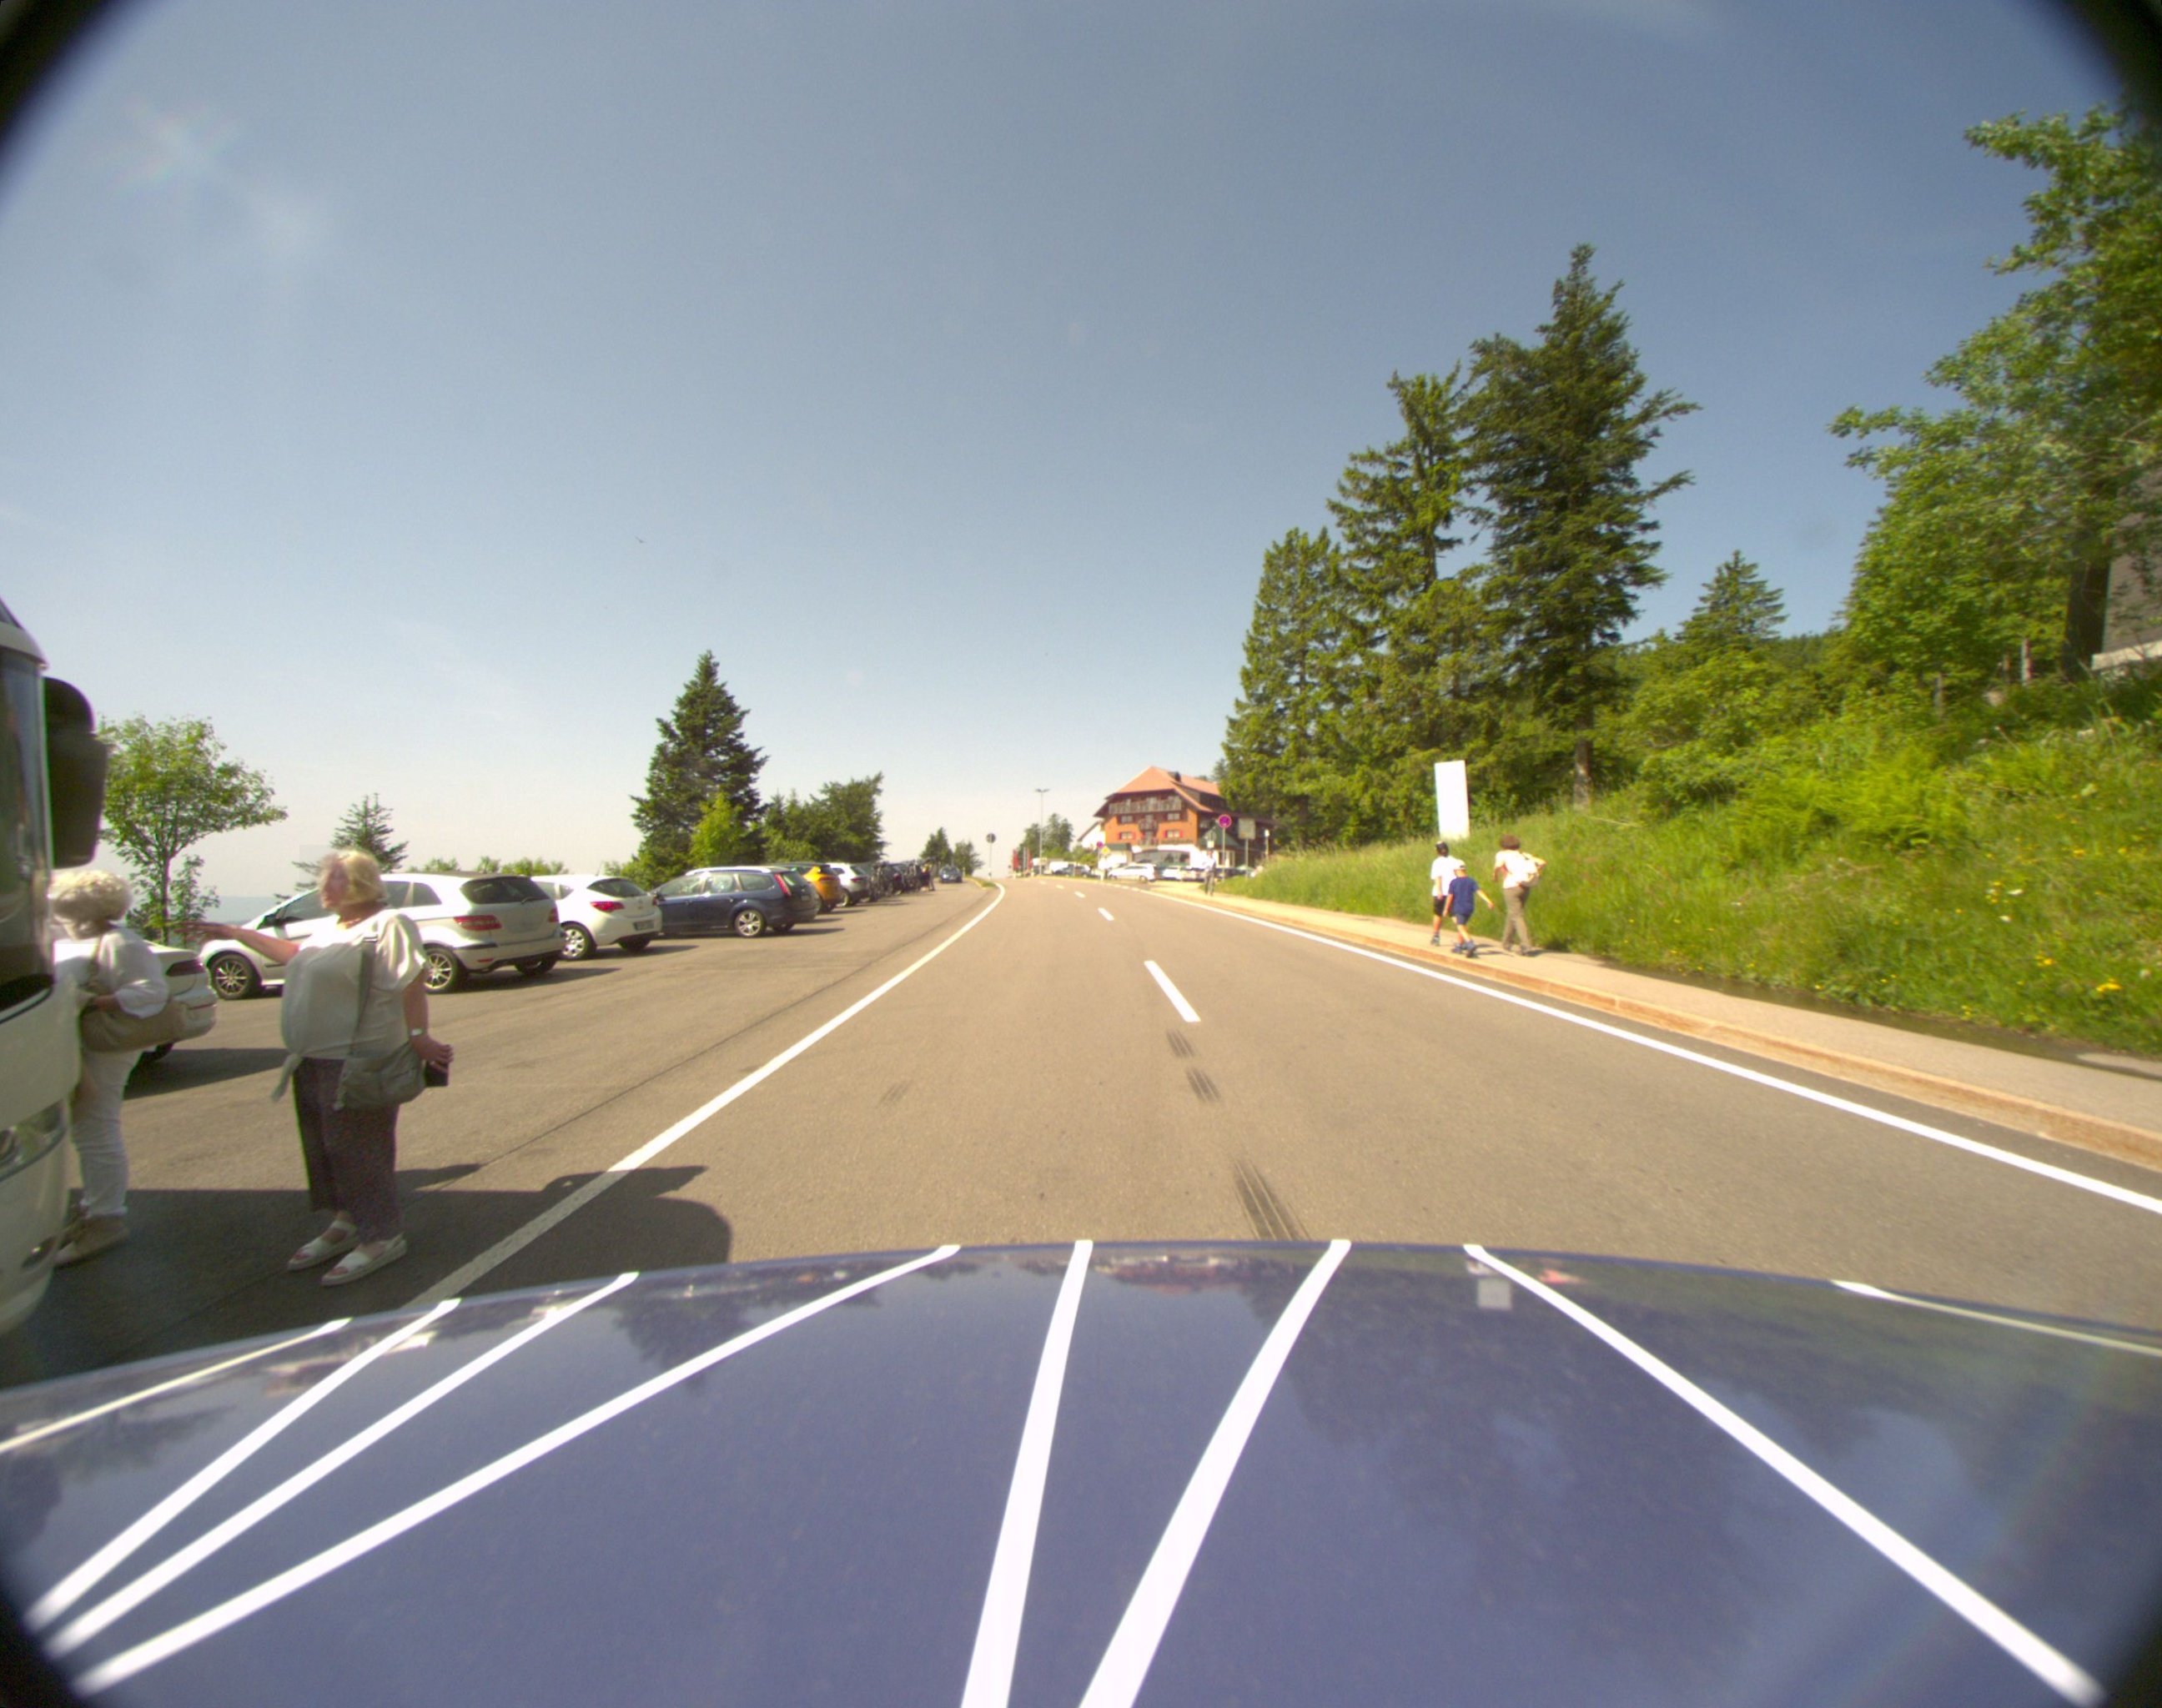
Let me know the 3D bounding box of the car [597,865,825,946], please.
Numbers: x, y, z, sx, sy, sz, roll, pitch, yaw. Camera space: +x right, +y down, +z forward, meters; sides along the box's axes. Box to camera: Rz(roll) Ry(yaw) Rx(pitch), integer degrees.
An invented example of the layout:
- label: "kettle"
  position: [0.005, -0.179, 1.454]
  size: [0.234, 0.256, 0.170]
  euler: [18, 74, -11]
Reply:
- label: "car"
  position: [-8.024, 1.092, 16.731]
  size: [4.140, 1.535, 1.672]
  euler: [-2, 0, 1]

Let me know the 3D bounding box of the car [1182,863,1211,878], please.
- label: "car"
  position: [11.062, 1.606, 72.733]
  size: [1.636, 1.425, 3.323]
  euler: [-1, -1, 32]

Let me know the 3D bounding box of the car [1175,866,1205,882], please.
- label: "car"
  position: [10.990, 1.980, 76.178]
  size: [1.727, 1.457, 3.527]
  euler: [-1, 0, 30]

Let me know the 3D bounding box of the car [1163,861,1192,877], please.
- label: "car"
  position: [10.059, 1.559, 79.077]
  size: [1.710, 1.543, 3.141]
  euler: [-1, 0, 34]

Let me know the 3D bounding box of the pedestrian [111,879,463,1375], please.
- label: "pedestrian"
  position: [-3.062, 0.936, 3.038]
  size: [0.746, 1.633, 0.707]
  euler: [-2, 1, -27]

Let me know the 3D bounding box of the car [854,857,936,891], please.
- label: "car"
  position: [-10.742, 1.154, 44.140]
  size: [4.326, 1.811, 1.999]
  euler: [-2, 0, -6]

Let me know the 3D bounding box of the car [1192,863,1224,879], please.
- label: "car"
  position: [11.673, 1.543, 69.730]
  size: [1.714, 1.425, 3.322]
  euler: [-1, 0, 32]

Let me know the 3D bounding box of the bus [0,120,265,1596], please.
- label: "bus"
  position: [-9.102, 0.134, 1.518]
  size: [12.873, 3.556, 2.840]
  euler: [-1, 0, 5]

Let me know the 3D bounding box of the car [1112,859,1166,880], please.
- label: "car"
  position: [4.678, 1.248, 61.504]
  size: [3.953, 1.578, 1.793]
  euler: [-1, 0, 31]

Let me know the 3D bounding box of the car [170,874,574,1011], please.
- label: "car"
  position: [-9.636, 1.156, 10.545]
  size: [3.996, 1.565, 1.767]
  euler: [-2, 0, 3]

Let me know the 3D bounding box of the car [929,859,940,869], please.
- label: "car"
  position: [-28.786, 1.935, 149.086]
  size: [2.001, 2.002, 3.995]
  euler: [-1, 0, -14]

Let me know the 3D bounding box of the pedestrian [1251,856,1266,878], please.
- label: "pedestrian"
  position: [13.827, 1.023, 59.201]
  size: [0.910, 1.731, 0.638]
  euler: [-1, 0, 38]

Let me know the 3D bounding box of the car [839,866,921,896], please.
- label: "car"
  position: [-10.019, 1.348, 38.105]
  size: [3.710, 1.261, 1.564]
  euler: [-3, -1, -6]

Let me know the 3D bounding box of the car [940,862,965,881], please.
- label: "car"
  position: [-10.944, 1.463, 64.504]
  size: [2.000, 1.537, 3.996]
  euler: [-1, 0, -11]

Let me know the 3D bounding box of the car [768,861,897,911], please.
- label: "car"
  position: [-9.599, 1.226, 29.638]
  size: [4.431, 1.609, 1.752]
  euler: [-4, 0, -5]

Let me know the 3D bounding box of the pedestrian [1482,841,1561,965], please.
- label: "pedestrian"
  position: [6.053, 0.649, 10.486]
  size: [0.577, 1.633, 0.894]
  euler: [-1, 0, 1]

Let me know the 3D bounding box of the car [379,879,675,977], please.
- label: "car"
  position: [-9.764, 1.279, 13.595]
  size: [3.996, 1.411, 1.767]
  euler: [-3, 0, 3]

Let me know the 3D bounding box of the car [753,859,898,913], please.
- label: "car"
  position: [-8.985, 1.099, 27.115]
  size: [4.488, 1.617, 2.012]
  euler: [-3, 0, -6]

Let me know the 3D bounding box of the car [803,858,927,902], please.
- label: "car"
  position: [-9.949, 1.187, 35.343]
  size: [5.115, 1.610, 1.999]
  euler: [-4, 0, -5]

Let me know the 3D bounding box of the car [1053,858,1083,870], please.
- label: "car"
  position: [-2.298, 1.752, 133.127]
  size: [5.252, 1.894, 2.000]
  euler: [-1, 0, -1]

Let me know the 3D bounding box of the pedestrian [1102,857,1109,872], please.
- label: "pedestrian"
  position: [2.841, 1.247, 88.024]
  size: [0.780, 1.689, 0.683]
  euler: [-1, 0, -3]

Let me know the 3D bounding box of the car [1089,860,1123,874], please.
- label: "car"
  position: [2.794, 1.432, 85.164]
  size: [3.325, 1.583, 1.720]
  euler: [-1, 0, 37]

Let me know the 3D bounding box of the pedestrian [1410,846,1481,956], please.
- label: "pedestrian"
  position: [5.283, 0.660, 11.045]
  size: [0.582, 1.528, 0.880]
  euler: [-1, 0, -2]

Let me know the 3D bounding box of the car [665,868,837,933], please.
- label: "car"
  position: [-8.888, 1.231, 20.704]
  size: [3.894, 1.412, 1.613]
  euler: [-3, 1, -2]

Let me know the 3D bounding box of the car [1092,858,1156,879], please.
- label: "car"
  position: [3.872, 1.275, 68.455]
  size: [5.351, 1.858, 2.004]
  euler: [-1, 0, 26]

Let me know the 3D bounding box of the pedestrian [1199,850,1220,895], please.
- label: "pedestrian"
  position: [4.969, 0.703, 29.452]
  size: [0.581, 1.731, 0.686]
  euler: [-1, 0, -9]

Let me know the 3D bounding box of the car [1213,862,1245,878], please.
- label: "car"
  position: [13.098, 1.451, 67.069]
  size: [1.708, 1.387, 3.323]
  euler: [-1, -1, 32]

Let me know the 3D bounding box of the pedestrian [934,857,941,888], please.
- label: "pedestrian"
  position: [-8.492, 1.085, 45.036]
  size: [0.367, 1.812, 0.549]
  euler: [-1, 0, -7]

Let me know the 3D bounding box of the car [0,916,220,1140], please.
- label: "car"
  position: [-9.373, 1.291, 5.590]
  size: [4.433, 1.388, 1.719]
  euler: [-2, 0, 6]

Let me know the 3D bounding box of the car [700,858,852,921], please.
- label: "car"
  position: [-9.270, 1.047, 23.341]
  size: [3.888, 1.606, 1.709]
  euler: [-3, 0, -4]

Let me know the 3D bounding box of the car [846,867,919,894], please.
- label: "car"
  position: [-10.702, 1.411, 41.142]
  size: [3.686, 1.343, 1.736]
  euler: [-1, 0, -12]

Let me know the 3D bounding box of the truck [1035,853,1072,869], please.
- label: "truck"
  position: [-5.016, 1.240, 140.389]
  size: [2.863, 2.813, 8.776]
  euler: [-1, 0, 27]

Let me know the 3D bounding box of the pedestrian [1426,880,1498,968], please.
- label: "pedestrian"
  position: [5.008, 0.898, 10.027]
  size: [0.570, 1.095, 0.745]
  euler: [-1, 0, 1]
